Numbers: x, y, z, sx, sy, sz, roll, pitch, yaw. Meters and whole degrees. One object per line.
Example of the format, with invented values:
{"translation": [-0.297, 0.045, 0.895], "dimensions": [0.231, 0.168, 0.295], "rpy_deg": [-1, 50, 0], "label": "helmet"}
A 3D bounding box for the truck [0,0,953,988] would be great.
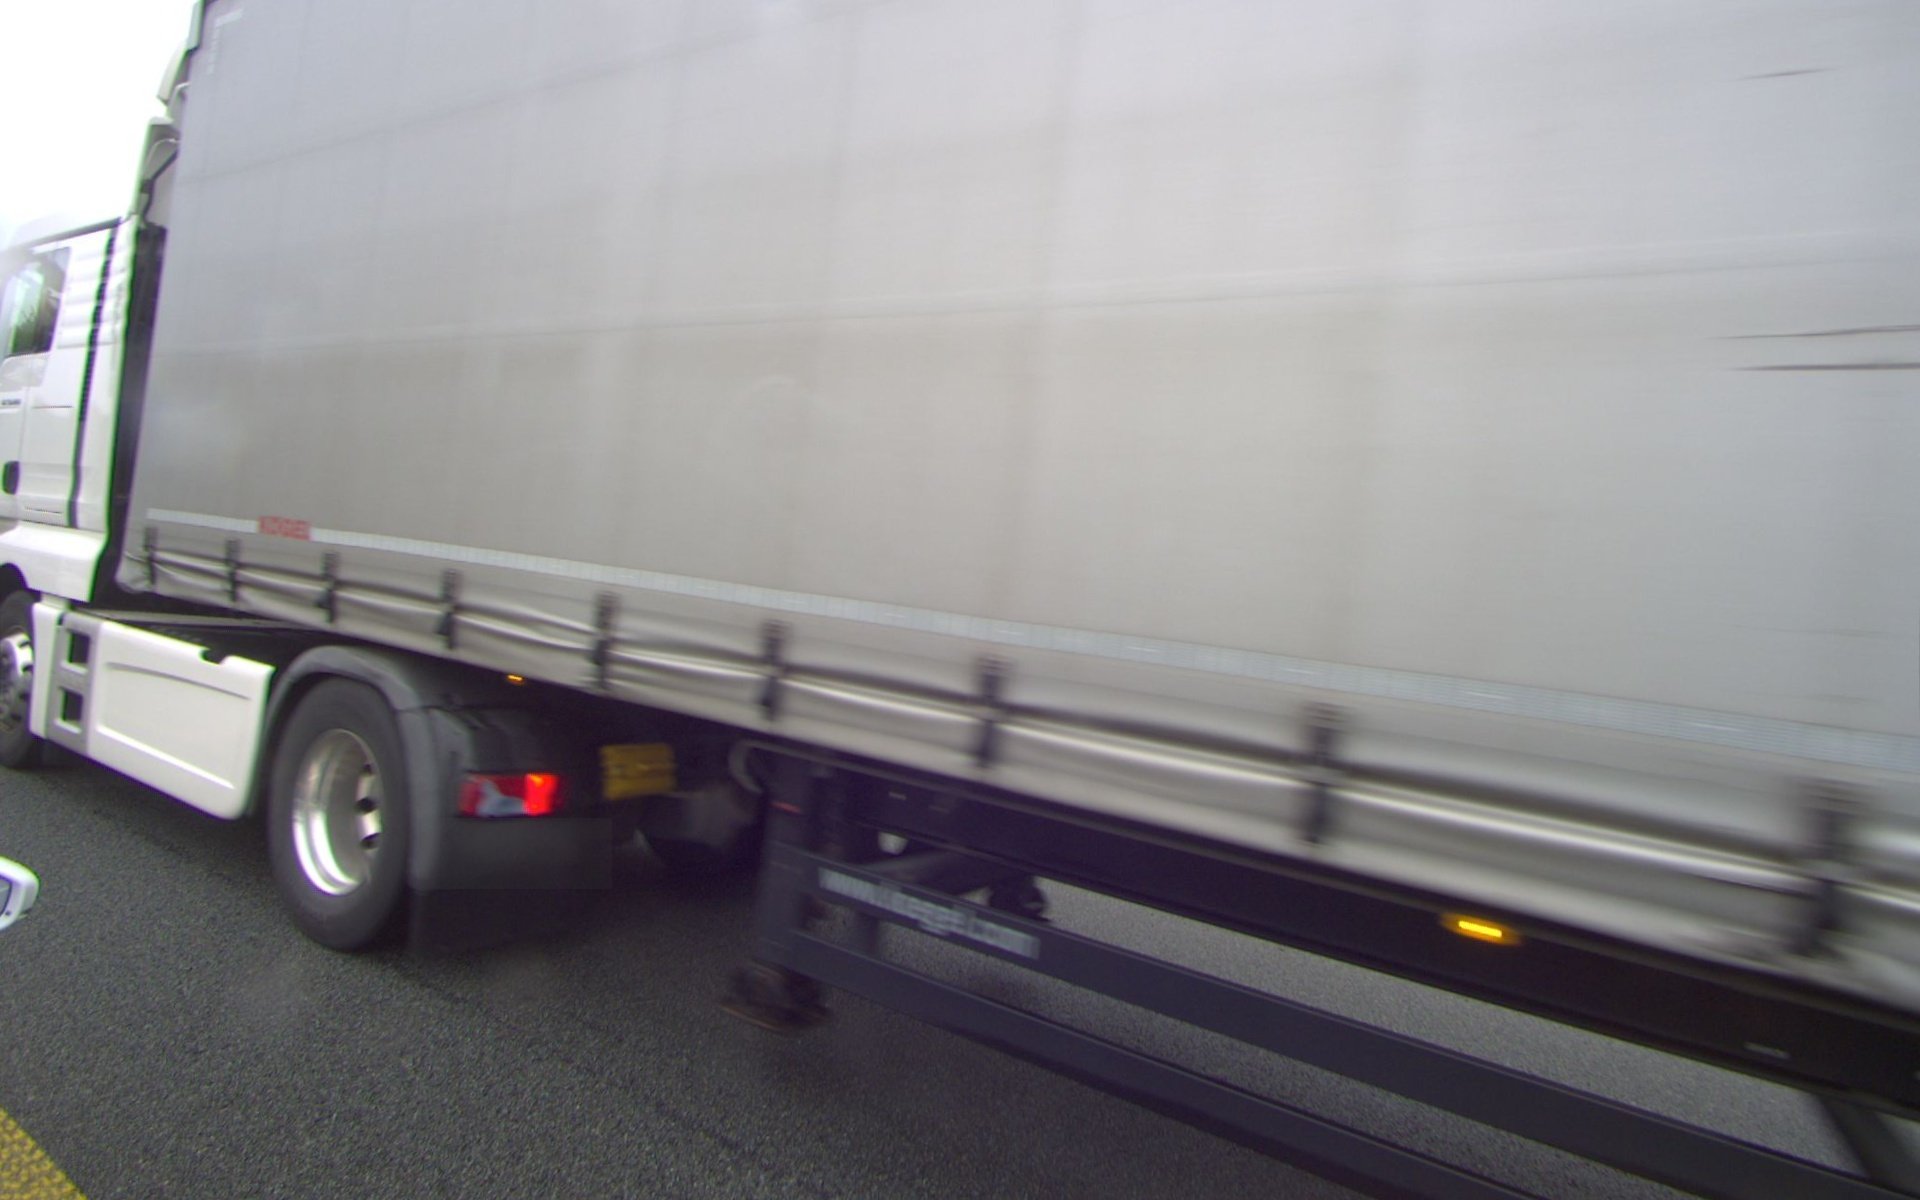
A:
{"translation": [-3.345, -0.956, 5.958], "dimensions": [5.596, 4.188, 2.710], "rpy_deg": [7, 0, 32], "label": "truck"}

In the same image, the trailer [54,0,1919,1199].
{"translation": [2.374, -0.281, 2.332], "dimensions": [13.504, 4.196, 2.710], "rpy_deg": [7, 0, 32], "label": "trailer"}
